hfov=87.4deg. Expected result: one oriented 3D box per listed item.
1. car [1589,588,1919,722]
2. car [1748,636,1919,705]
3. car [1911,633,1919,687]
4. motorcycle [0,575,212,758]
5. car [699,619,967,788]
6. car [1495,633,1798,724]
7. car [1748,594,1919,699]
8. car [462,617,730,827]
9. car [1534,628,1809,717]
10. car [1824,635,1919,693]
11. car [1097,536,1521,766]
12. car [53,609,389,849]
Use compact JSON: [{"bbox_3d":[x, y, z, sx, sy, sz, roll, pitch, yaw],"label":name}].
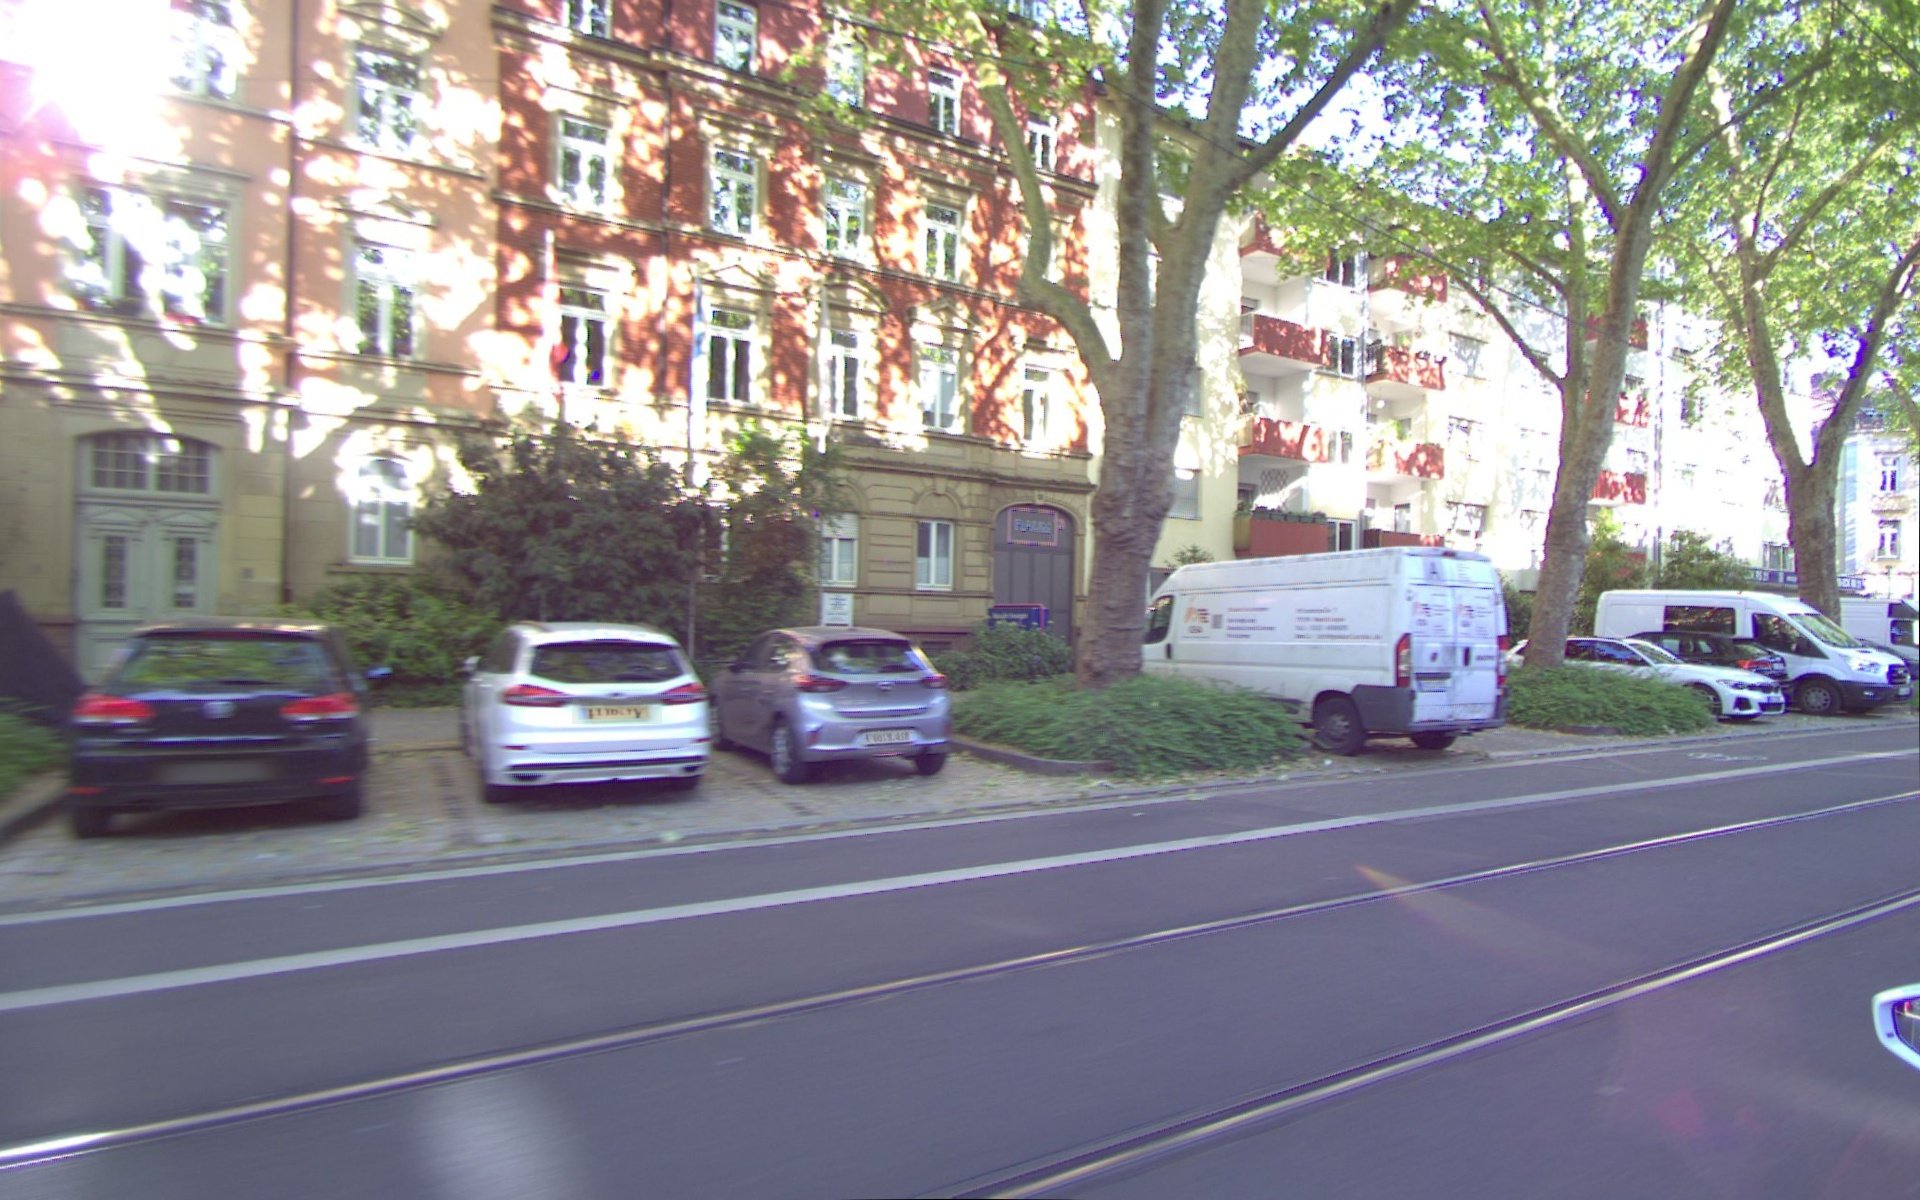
[{"bbox_3d":[16.865,1.077,21.640,2.032,2.510,5.337,2,-1,-29],"label":"car"},{"bbox_3d":[22.140,1.690,24.673,1.849,1.485,4.002,2,-1,-29],"label":"car"},{"bbox_3d":[31.589,1.878,30.237,1.872,1.669,3.967,2,-1,-31],"label":"car"},{"bbox_3d":[-9.050,0.595,9.523,2.977,1.653,1.047,2,0,-30],"label":"motorcycle"},{"bbox_3d":[-1.553,0.959,10.898,1.683,1.451,3.794,1,-1,-27],"label":"car"},{"bbox_3d":[12.842,1.397,19.102,1.910,1.403,4.390,2,-1,-29],"label":"car"},{"bbox_3d":[24.105,1.186,26.426,2.060,2.601,4.916,2,-1,-32],"label":"car"},{"bbox_3d":[-3.643,0.950,9.581,1.808,1.516,3.970,2,-1,-29],"label":"car"},{"bbox_3d":[14.730,1.428,21.065,1.850,1.559,4.351,2,-1,-29],"label":"car"},{"bbox_3d":[26.456,1.763,27.554,1.839,1.498,3.836,2,-1,-30],"label":"car"},{"bbox_3d":[4.524,0.584,14.223,2.136,2.570,5.715,1,0,-29],"label":"car"},{"bbox_3d":[-5.748,0.831,8.285,1.683,1.479,3.777,1,-1,-29],"label":"car"}]
